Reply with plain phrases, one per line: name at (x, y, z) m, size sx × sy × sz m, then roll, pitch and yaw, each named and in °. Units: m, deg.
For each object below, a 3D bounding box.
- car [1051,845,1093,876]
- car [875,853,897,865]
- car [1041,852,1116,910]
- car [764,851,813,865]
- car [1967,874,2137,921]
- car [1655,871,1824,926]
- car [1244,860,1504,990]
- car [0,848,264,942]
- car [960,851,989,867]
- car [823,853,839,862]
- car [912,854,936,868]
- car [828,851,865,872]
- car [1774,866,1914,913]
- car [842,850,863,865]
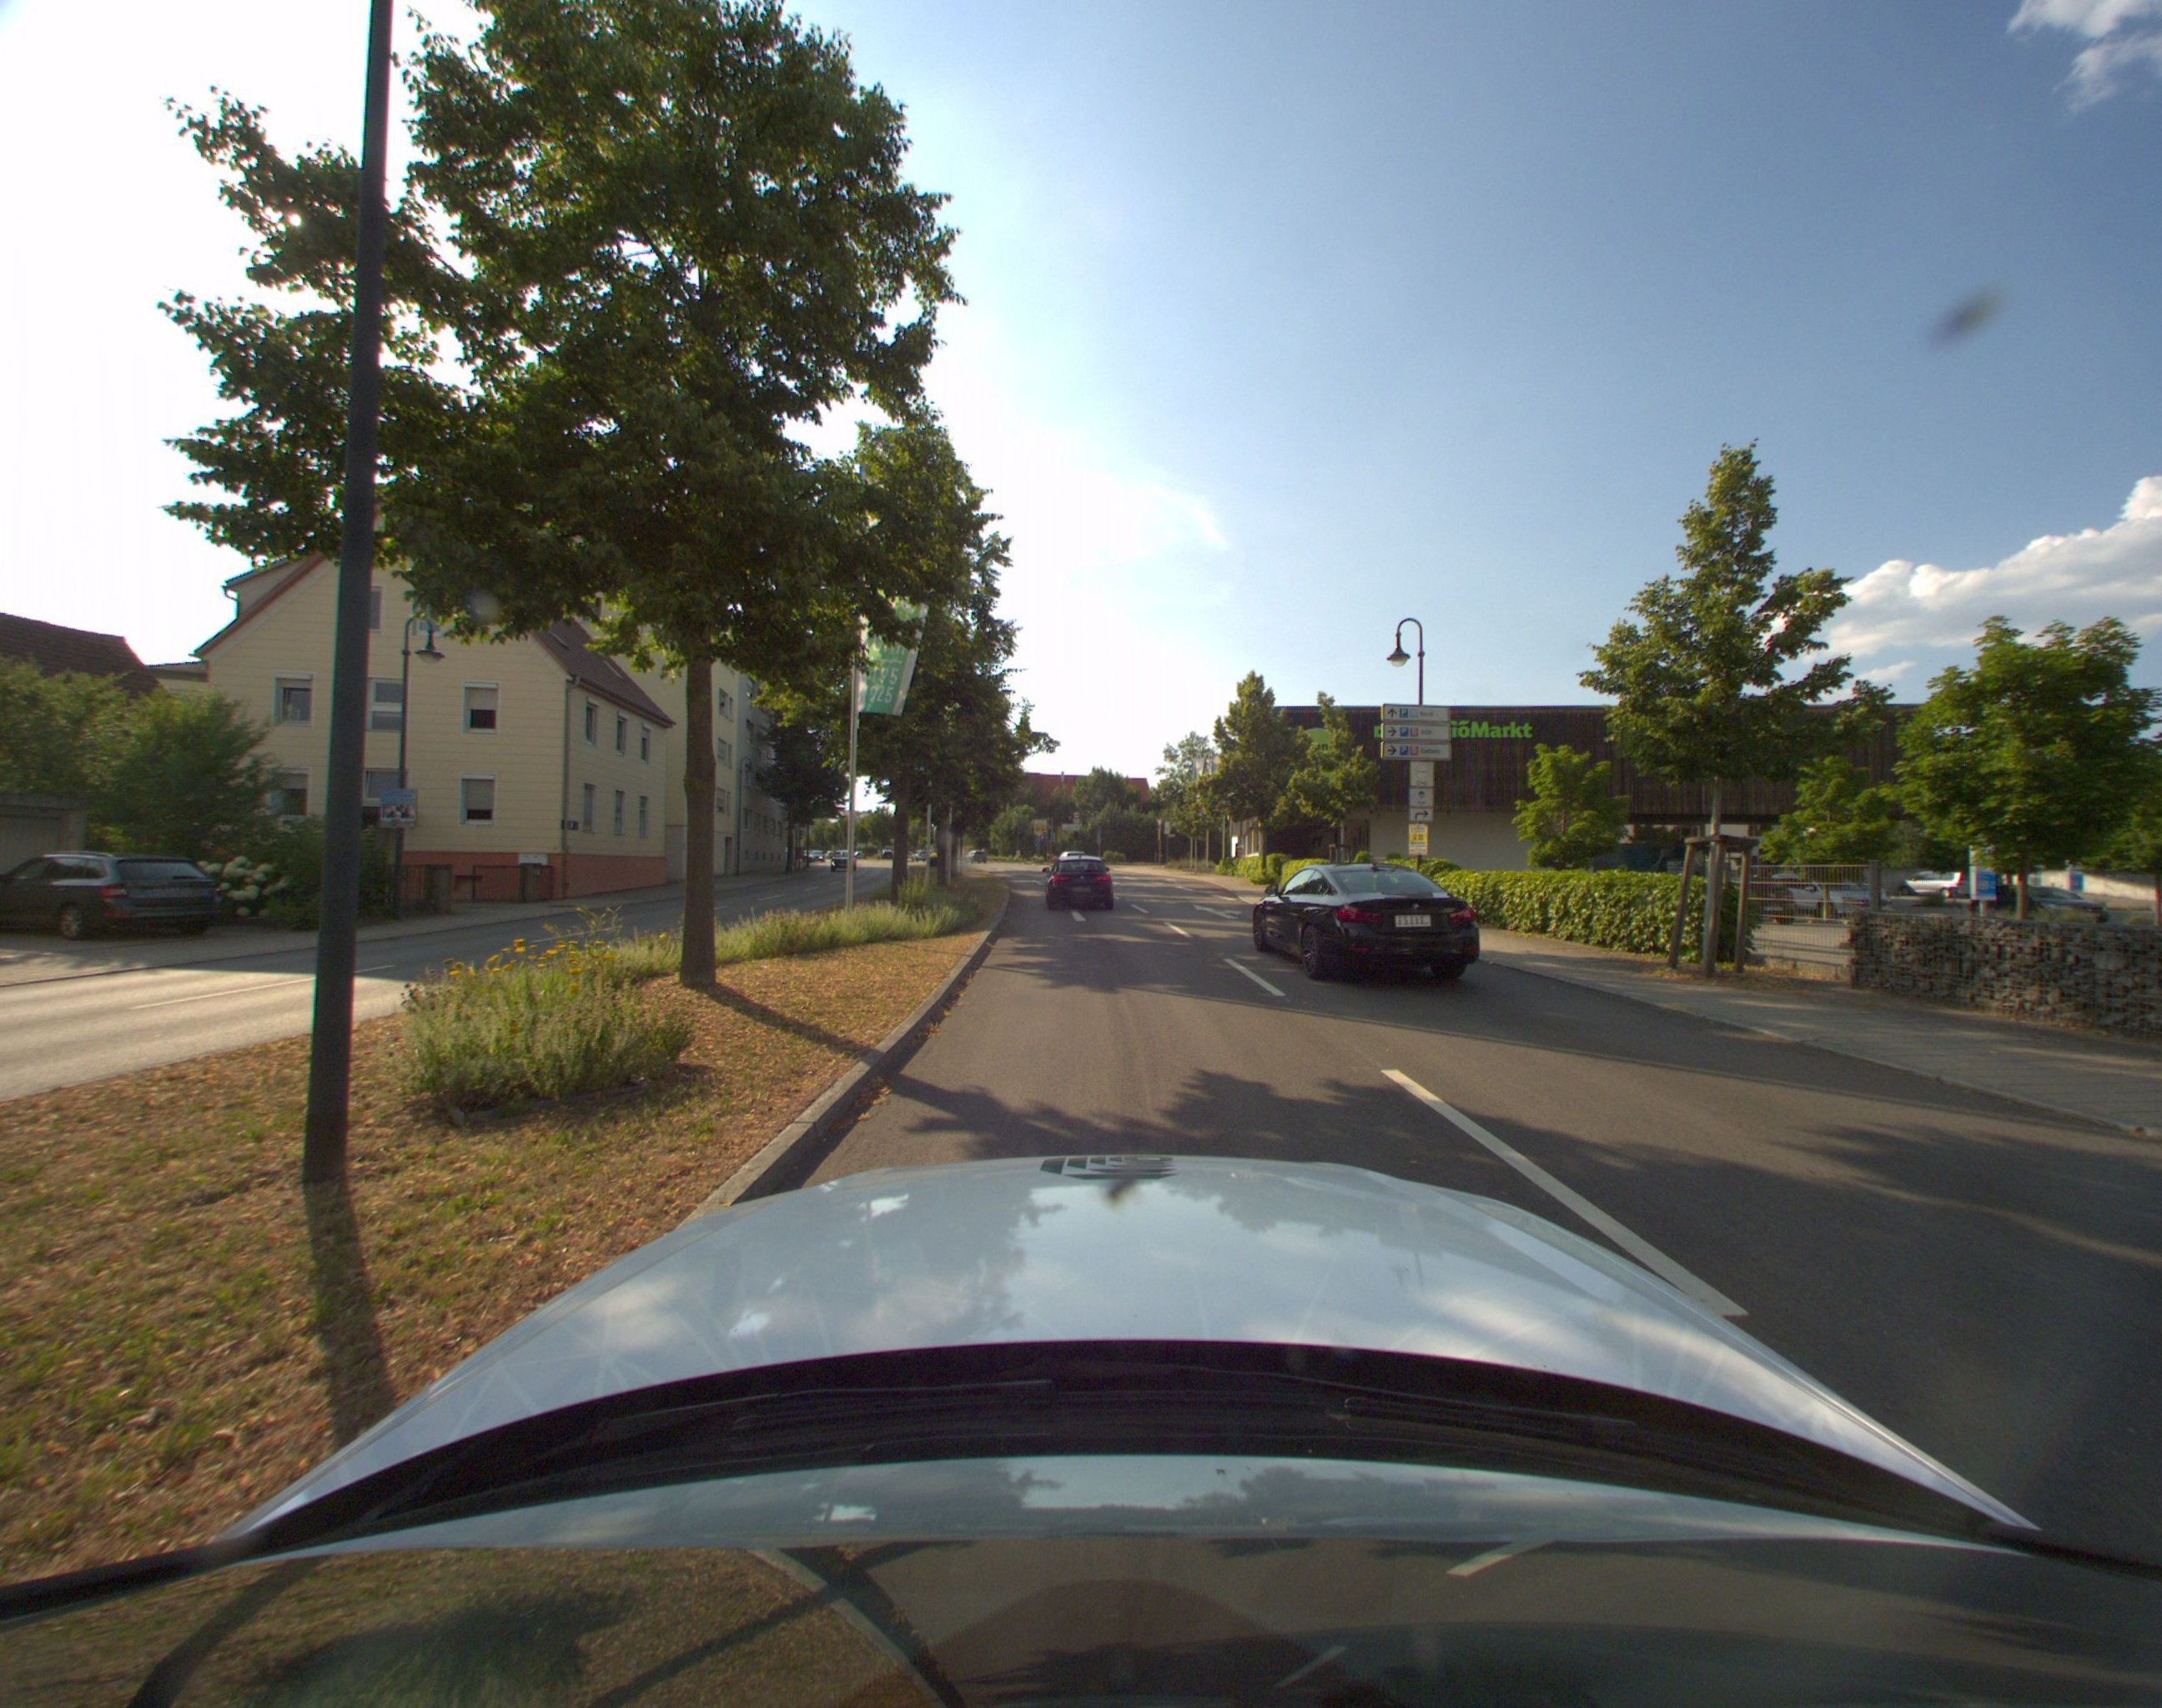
car at (-0.610, 0.374, 49.819) m, size 1.924 × 1.769 × 4.440 m, roll 0°, pitch 0°, yaw -9°
car at (-30.229, 0.713, 125.981) m, size 2.230 × 1.769 × 4.412 m, roll 0°, pitch 0°, yaw -29°
car at (-0.160, 0.714, 23.158) m, size 1.719 × 1.490 × 4.344 m, roll 0°, pitch 0°, yaw -6°
car at (-31.622, 0.414, 88.139) m, size 4.869 × 1.436 × 1.907 m, roll -1°, pitch 0°, yaw -17°
car at (36.963, 1.607, 31.172) m, size 1.983 × 1.551 × 4.007 m, roll 1°, pitch 0°, yaw 6°
car at (21.217, 1.380, 26.550) m, size 1.985 × 1.539 × 4.551 m, roll 1°, pitch 0°, yaw 3°
car at (3.566, 0.776, 10.881) m, size 1.914 × 1.364 × 4.352 m, roll 0°, pitch 0°, yaw 0°
car at (-17.601, 0.663, 14.717) m, size 4.317 × 1.486 × 1.953 m, roll 1°, pitch 0°, yaw 12°
car at (-12.729, 0.593, 97.059) m, size 2.268 × 1.674 × 4.552 m, roll 3°, pitch 0°, yaw -23°
car at (-49.307, 0.708, 160.619) m, size 2.230 × 1.769 × 4.412 m, roll 0°, pitch 0°, yaw -29°
car at (-21.149, 0.887, 109.648) m, size 2.268 × 1.674 × 4.552 m, roll 3°, pitch 0°, yaw -23°
car at (-18.005, 0.573, 62.728) m, size 1.937 × 1.486 × 4.315 m, roll 2°, pitch 0°, yaw -6°
car at (29.602, 1.328, 31.797) m, size 1.983 × 1.628 × 4.007 m, roll 1°, pitch 0°, yaw 6°
car at (-23.454, 0.393, 83.581) m, size 1.605 × 1.486 × 3.772 m, roll 0°, pitch 0°, yaw -9°
